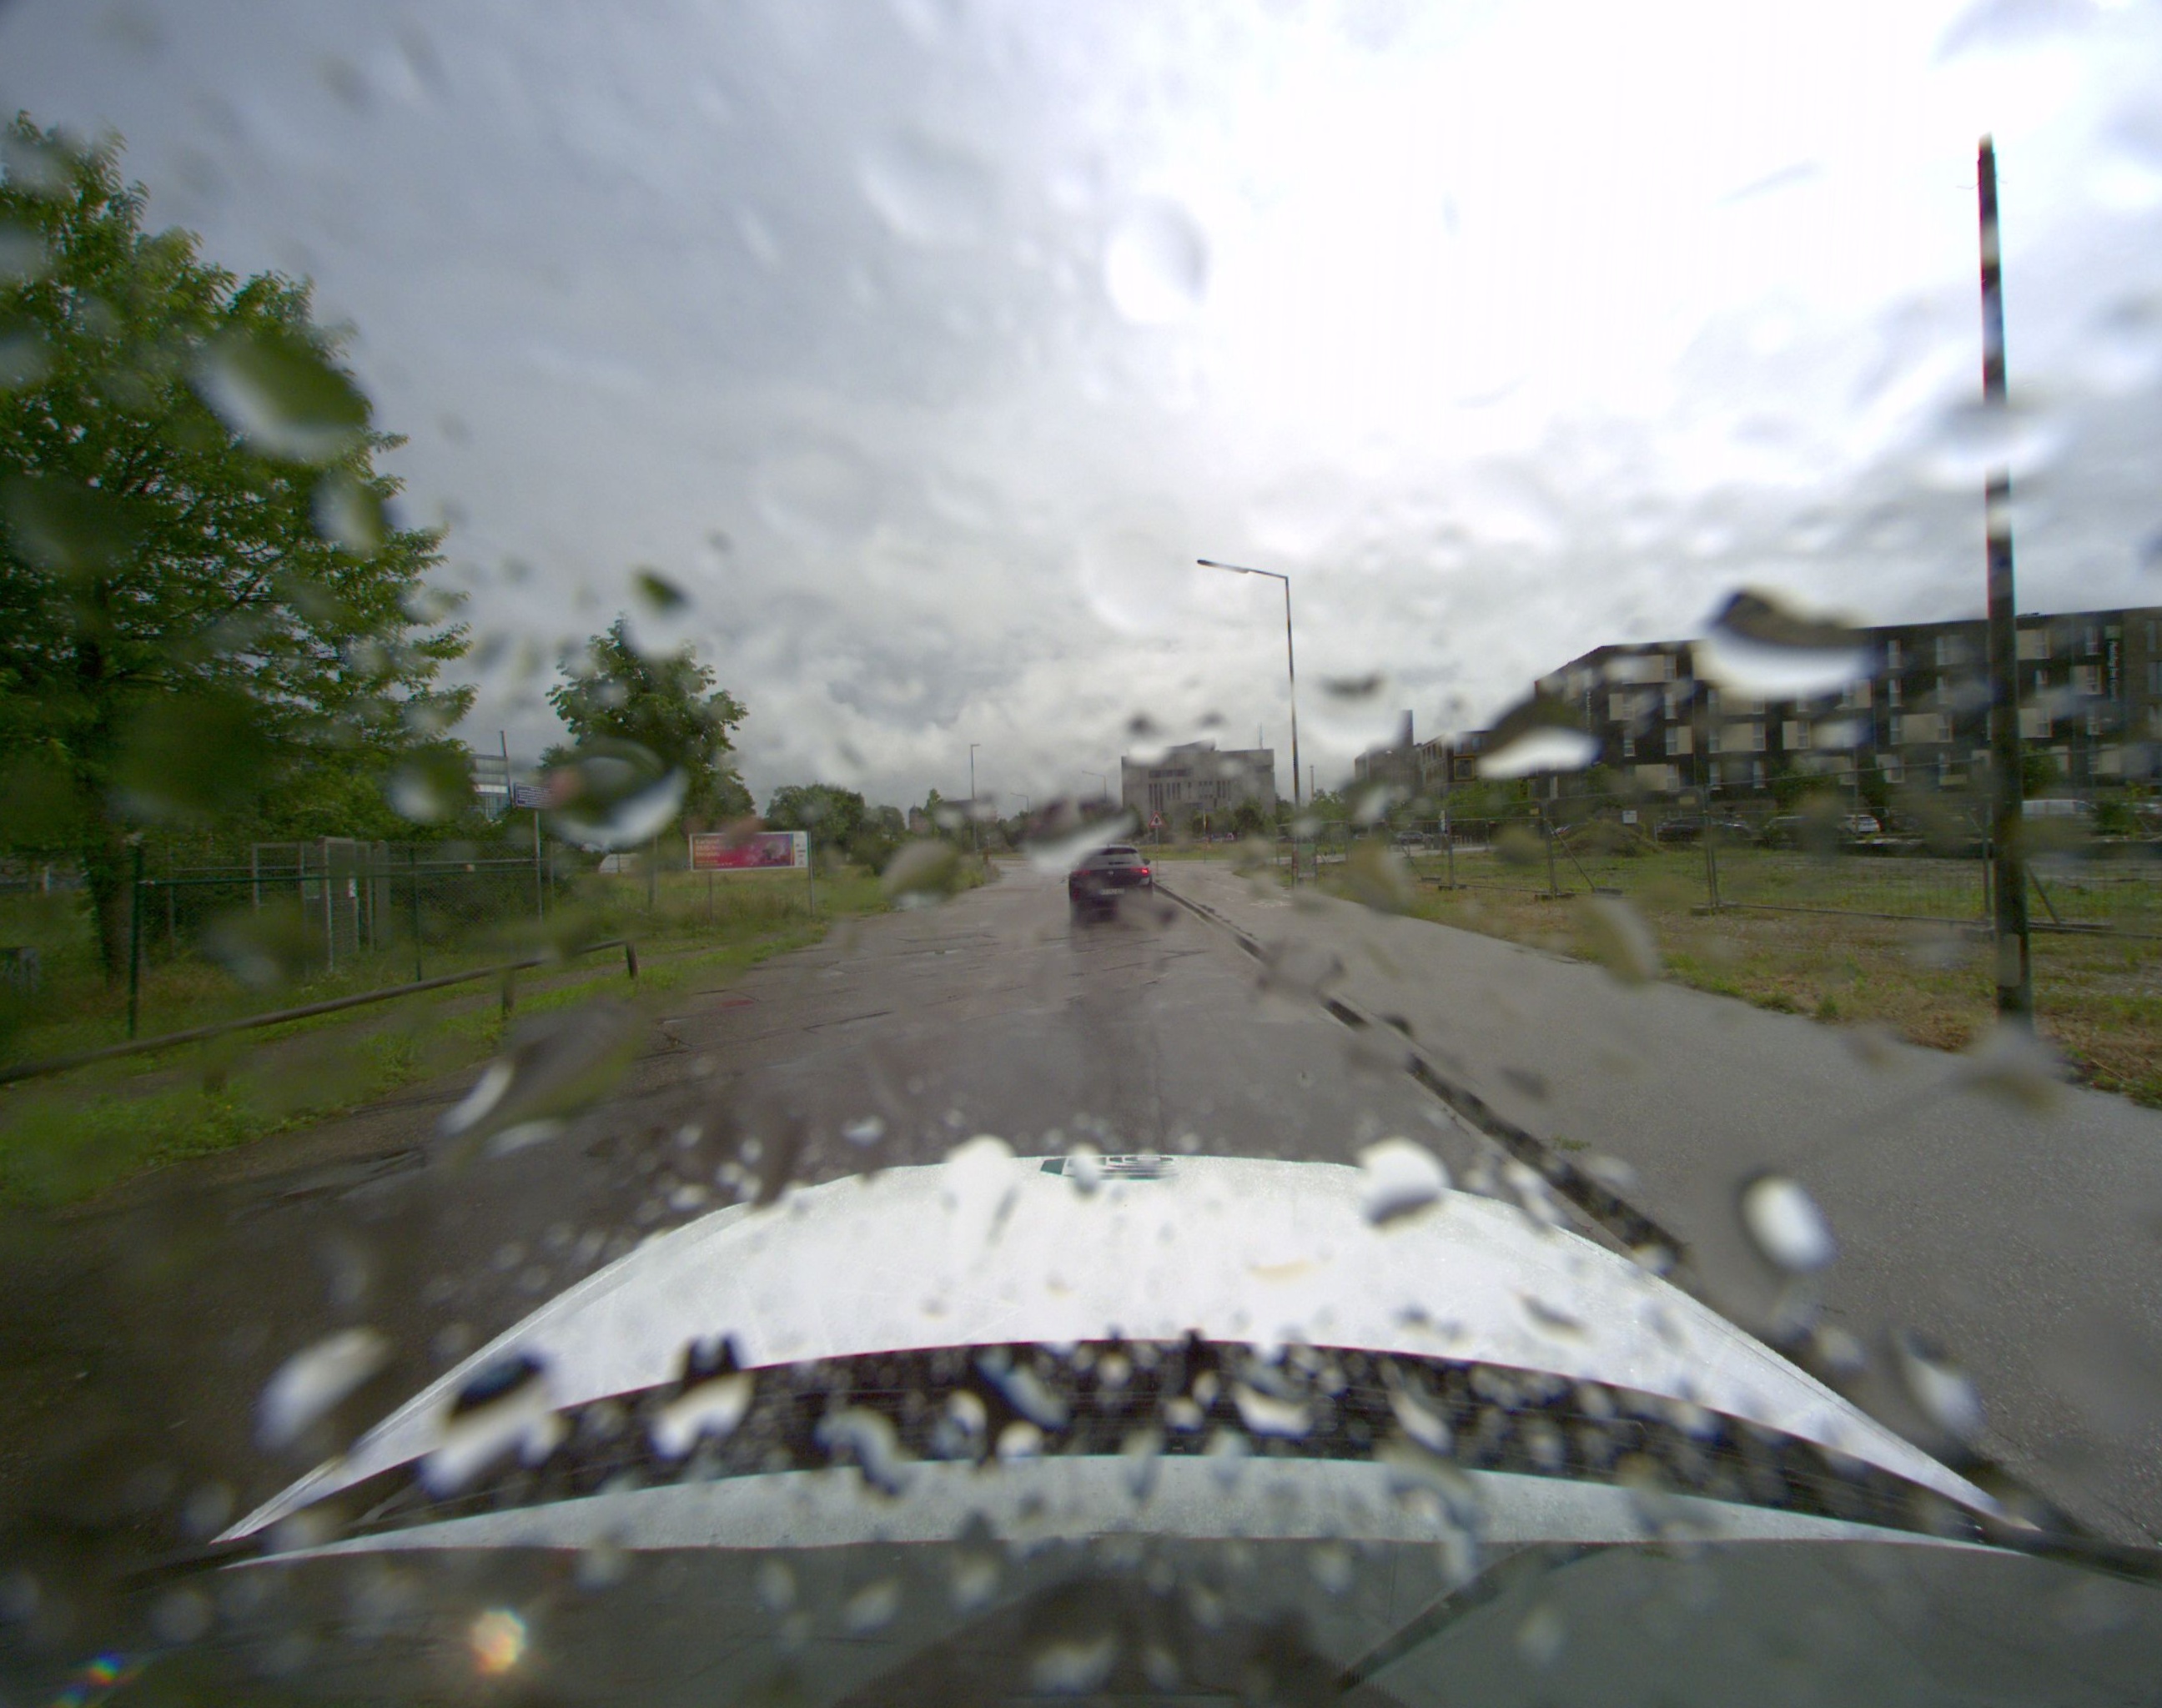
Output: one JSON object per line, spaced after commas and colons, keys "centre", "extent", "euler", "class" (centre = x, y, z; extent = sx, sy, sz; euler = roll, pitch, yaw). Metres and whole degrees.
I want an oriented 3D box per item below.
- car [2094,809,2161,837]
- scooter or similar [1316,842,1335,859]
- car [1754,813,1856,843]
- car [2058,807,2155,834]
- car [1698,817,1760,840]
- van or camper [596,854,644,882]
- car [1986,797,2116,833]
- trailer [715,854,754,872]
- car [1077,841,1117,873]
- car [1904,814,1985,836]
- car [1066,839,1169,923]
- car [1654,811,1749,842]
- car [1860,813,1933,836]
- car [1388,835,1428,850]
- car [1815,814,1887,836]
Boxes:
{"centre": [58.681, -1.735, 44.403], "extent": [3.962, 1.414, 2.006], "euler": [-2, 0, 10], "class": "car"}
{"centre": [18.145, -0.269, 60.384], "extent": [1.284, 1.187, 0.500], "euler": [-4, 2, -20], "class": "scooter or similar"}
{"centre": [41.649, -1.483, 46.923], "extent": [3.966, 1.641, 2.004], "euler": [1, 1, 6], "class": "car"}
{"centre": [66.694, -2.162, 53.062], "extent": [1.769, 1.615, 3.853], "euler": [1, 1, 9], "class": "car"}
{"centre": [45.314, -1.793, 57.047], "extent": [1.769, 1.527, 3.853], "euler": [1, 1, 9], "class": "car"}
{"centre": [-52.278, 1.570, 92.448], "extent": [4.528, 2.945, 2.461], "euler": [-2, 0, -29], "class": "van or camper"}
{"centre": [53.657, -2.154, 45.138], "extent": [4.296, 1.772, 2.006], "euler": [2, 1, 11], "class": "car"}
{"centre": [-42.077, 1.138, 98.800], "extent": [4.127, 2.089, 1.826], "euler": [-1, 0, -31], "class": "trailer"}
{"centre": [0.803, 0.112, 42.701], "extent": [1.836, 1.442, 3.998], "euler": [-5, 1, -2], "class": "car"}
{"centre": [57.619, -1.914, 54.429], "extent": [1.769, 1.395, 3.853], "euler": [1, 1, 9], "class": "car"}
{"centre": [0.722, 0.507, 18.404], "extent": [1.981, 1.520, 3.999], "euler": [-4, 1, 0], "class": "car"}
{"centre": [36.325, -1.584, 47.743], "extent": [3.966, 1.727, 2.004], "euler": [1, 1, 6], "class": "car"}
{"centre": [55.138, -1.952, 55.176], "extent": [1.628, 1.396, 3.792], "euler": [0, 0, 10], "class": "car"}
{"centre": [38.856, -1.371, 96.873], "extent": [4.175, 1.557, 1.673], "euler": [-3, 0, 13], "class": "car"}
{"centre": [52.602, -1.983, 55.712], "extent": [1.752, 1.395, 3.818], "euler": [1, 1, 9], "class": "car"}
